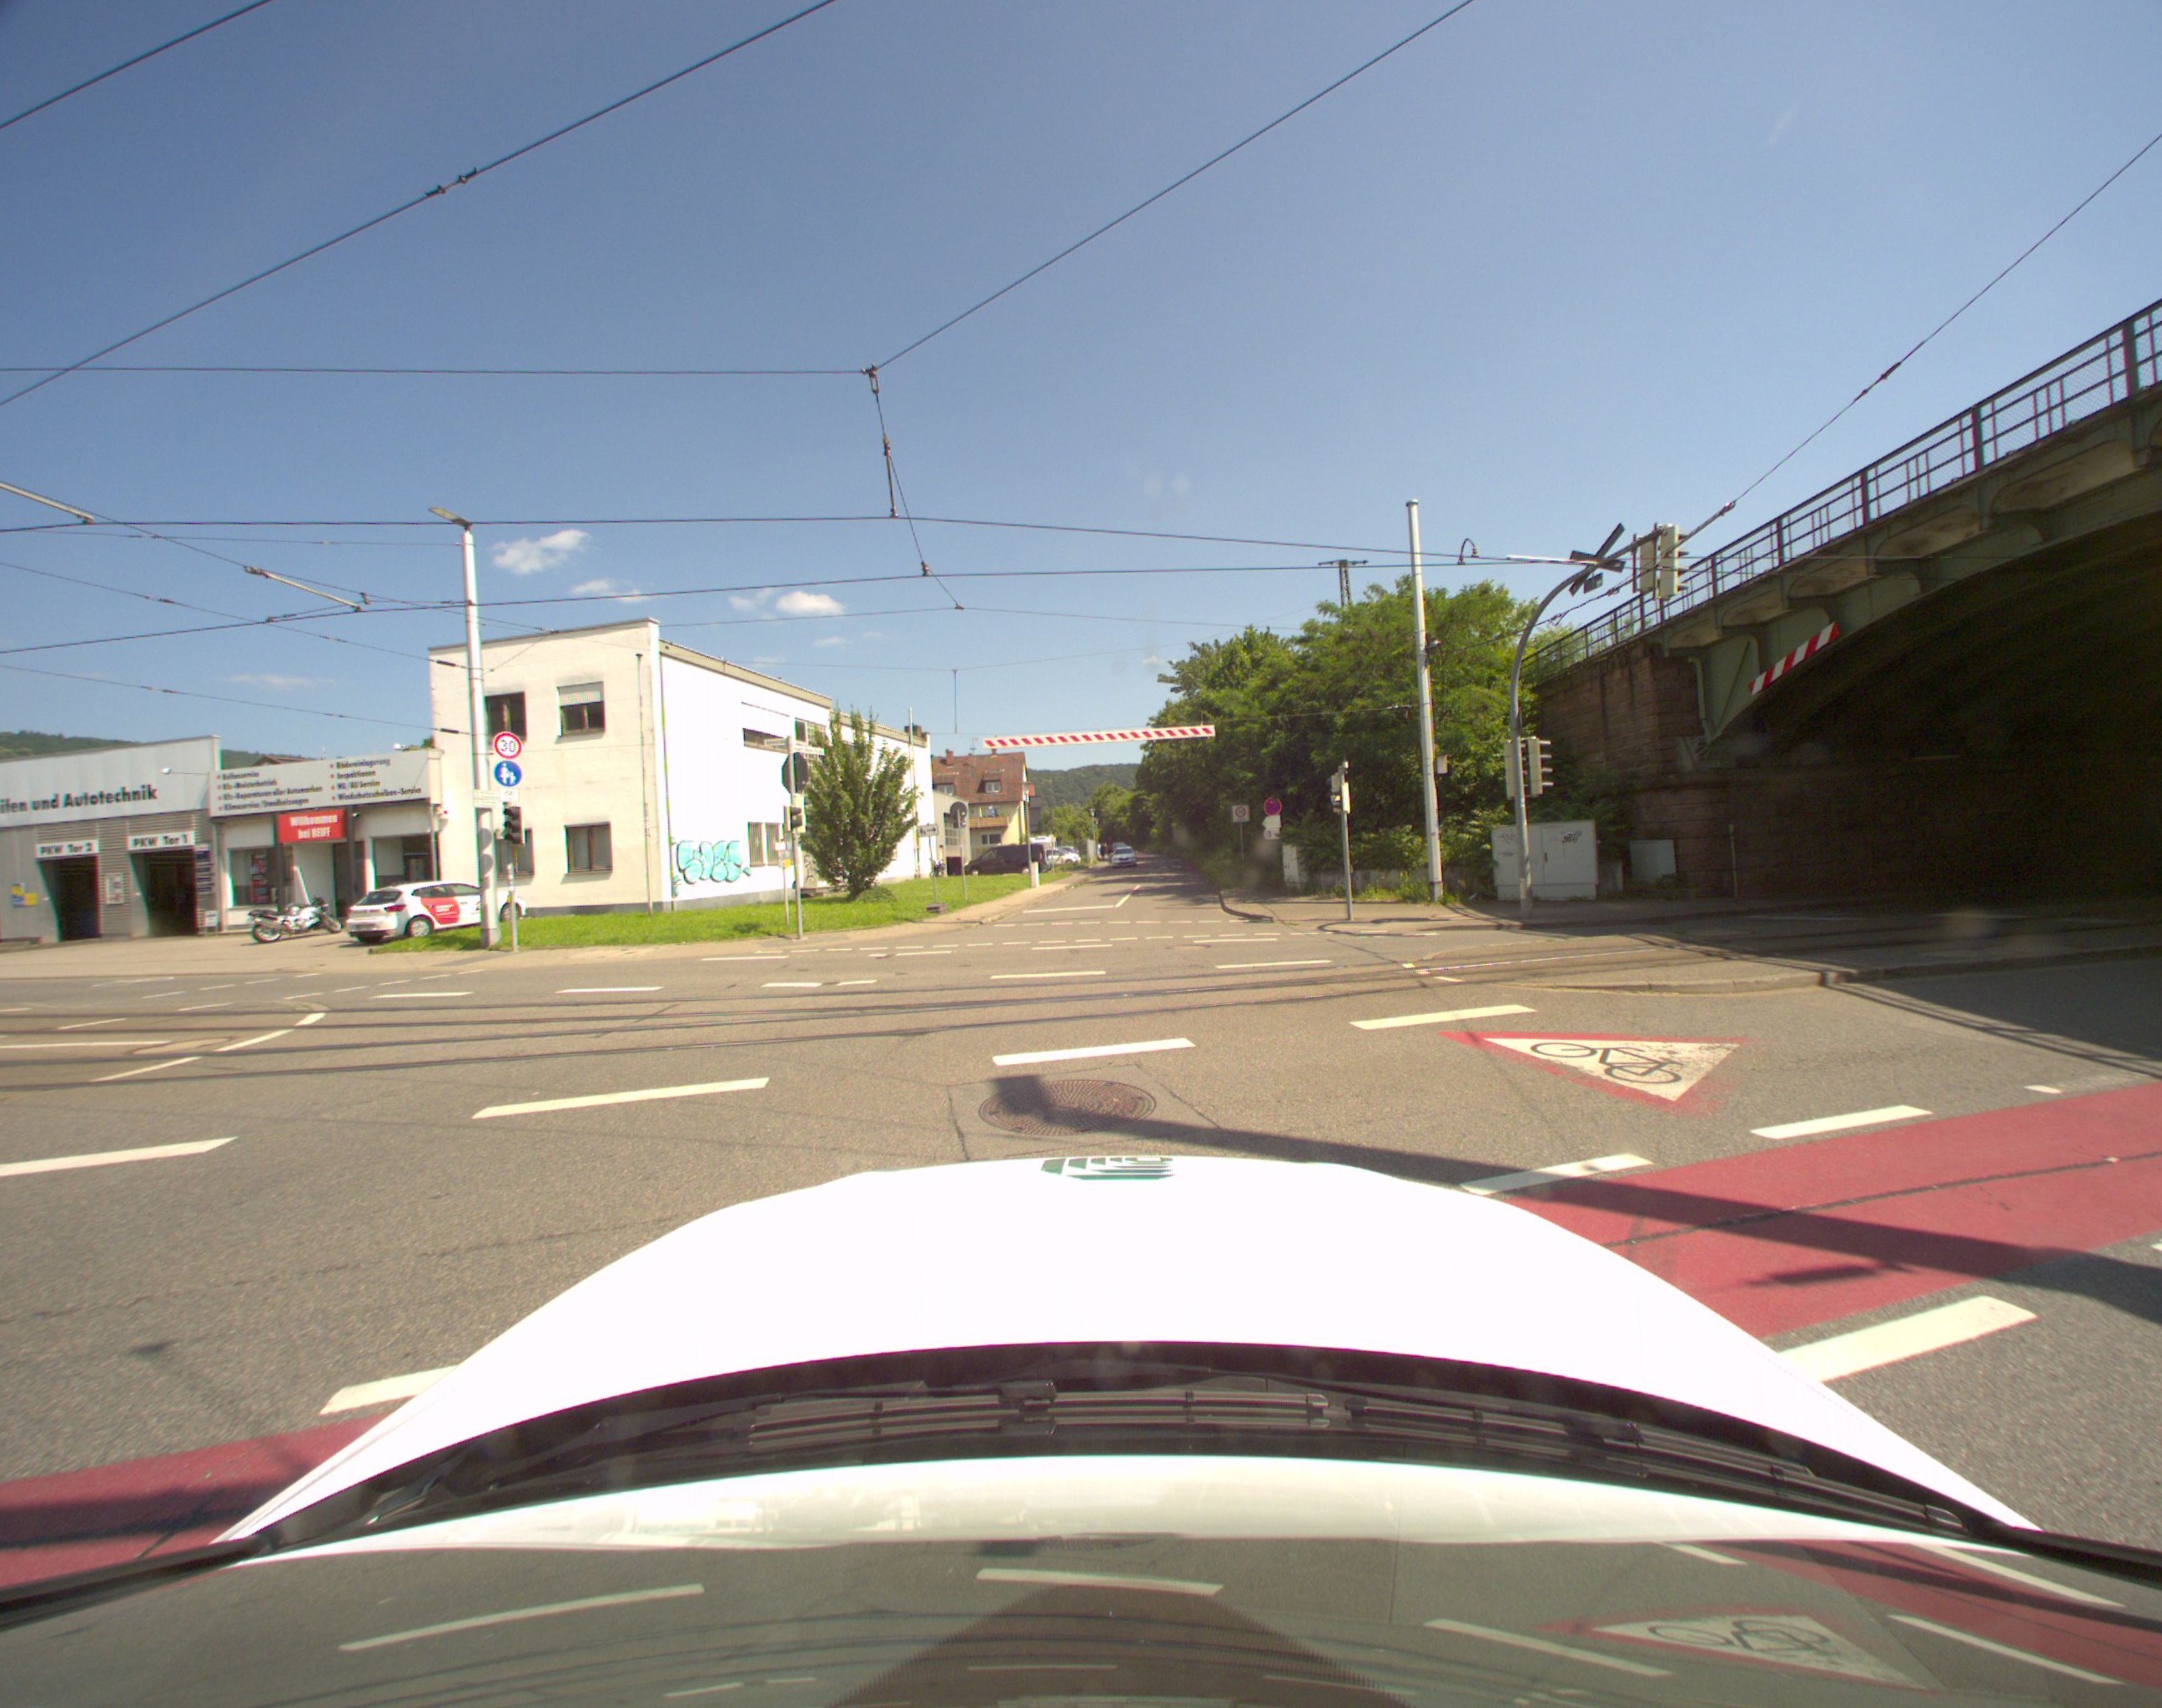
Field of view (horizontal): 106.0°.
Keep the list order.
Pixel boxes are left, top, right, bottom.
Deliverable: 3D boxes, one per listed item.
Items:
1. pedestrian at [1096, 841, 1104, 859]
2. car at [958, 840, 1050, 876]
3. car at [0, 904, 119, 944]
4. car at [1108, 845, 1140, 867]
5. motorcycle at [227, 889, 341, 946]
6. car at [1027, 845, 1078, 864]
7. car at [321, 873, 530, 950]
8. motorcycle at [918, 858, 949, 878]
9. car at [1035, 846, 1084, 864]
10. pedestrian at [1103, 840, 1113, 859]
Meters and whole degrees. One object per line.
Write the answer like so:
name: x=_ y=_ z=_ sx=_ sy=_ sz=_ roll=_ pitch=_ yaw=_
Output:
pedestrian: x=1.801 y=-0.394 z=78.435 sx=0.651 sy=1.763 sz=0.805 roll=-1 pitch=-1 yaw=5
car: x=-4.658 y=0.216 z=49.683 sx=5.224 sy=1.816 sz=2.002 roll=-4 pitch=0 yaw=4
car: x=-45.118 y=3.037 z=35.458 sx=1.710 sy=1.376 sz=3.783 roll=-3 pitch=0 yaw=8
car: x=3.202 y=0.090 z=59.725 sx=2.076 sy=1.510 sz=4.547 roll=-1 pitch=1 yaw=6
motorcycle: x=-22.934 y=1.800 z=23.510 sx=0.724 sy=1.308 sz=2.198 roll=-4 pitch=3 yaw=12
car: x=-2.199 y=0.070 z=63.648 sx=3.701 sy=1.371 sz=1.607 roll=-2 pitch=-1 yaw=6
car: x=-17.479 y=1.469 z=22.016 sx=1.871 sy=1.462 sz=4.014 roll=-3 pitch=3 yaw=11
motorcycle: x=-8.091 y=0.752 z=44.835 sx=0.847 sy=1.032 sz=2.573 roll=-2 pitch=-1 yaw=9
car: x=-1.718 y=0.097 z=66.314 sx=3.701 sy=1.371 sz=1.607 roll=-2 pitch=-1 yaw=6
pedestrian: x=2.628 y=-0.402 z=78.502 sx=0.872 sy=1.763 sz=0.732 roll=-1 pitch=-1 yaw=4
